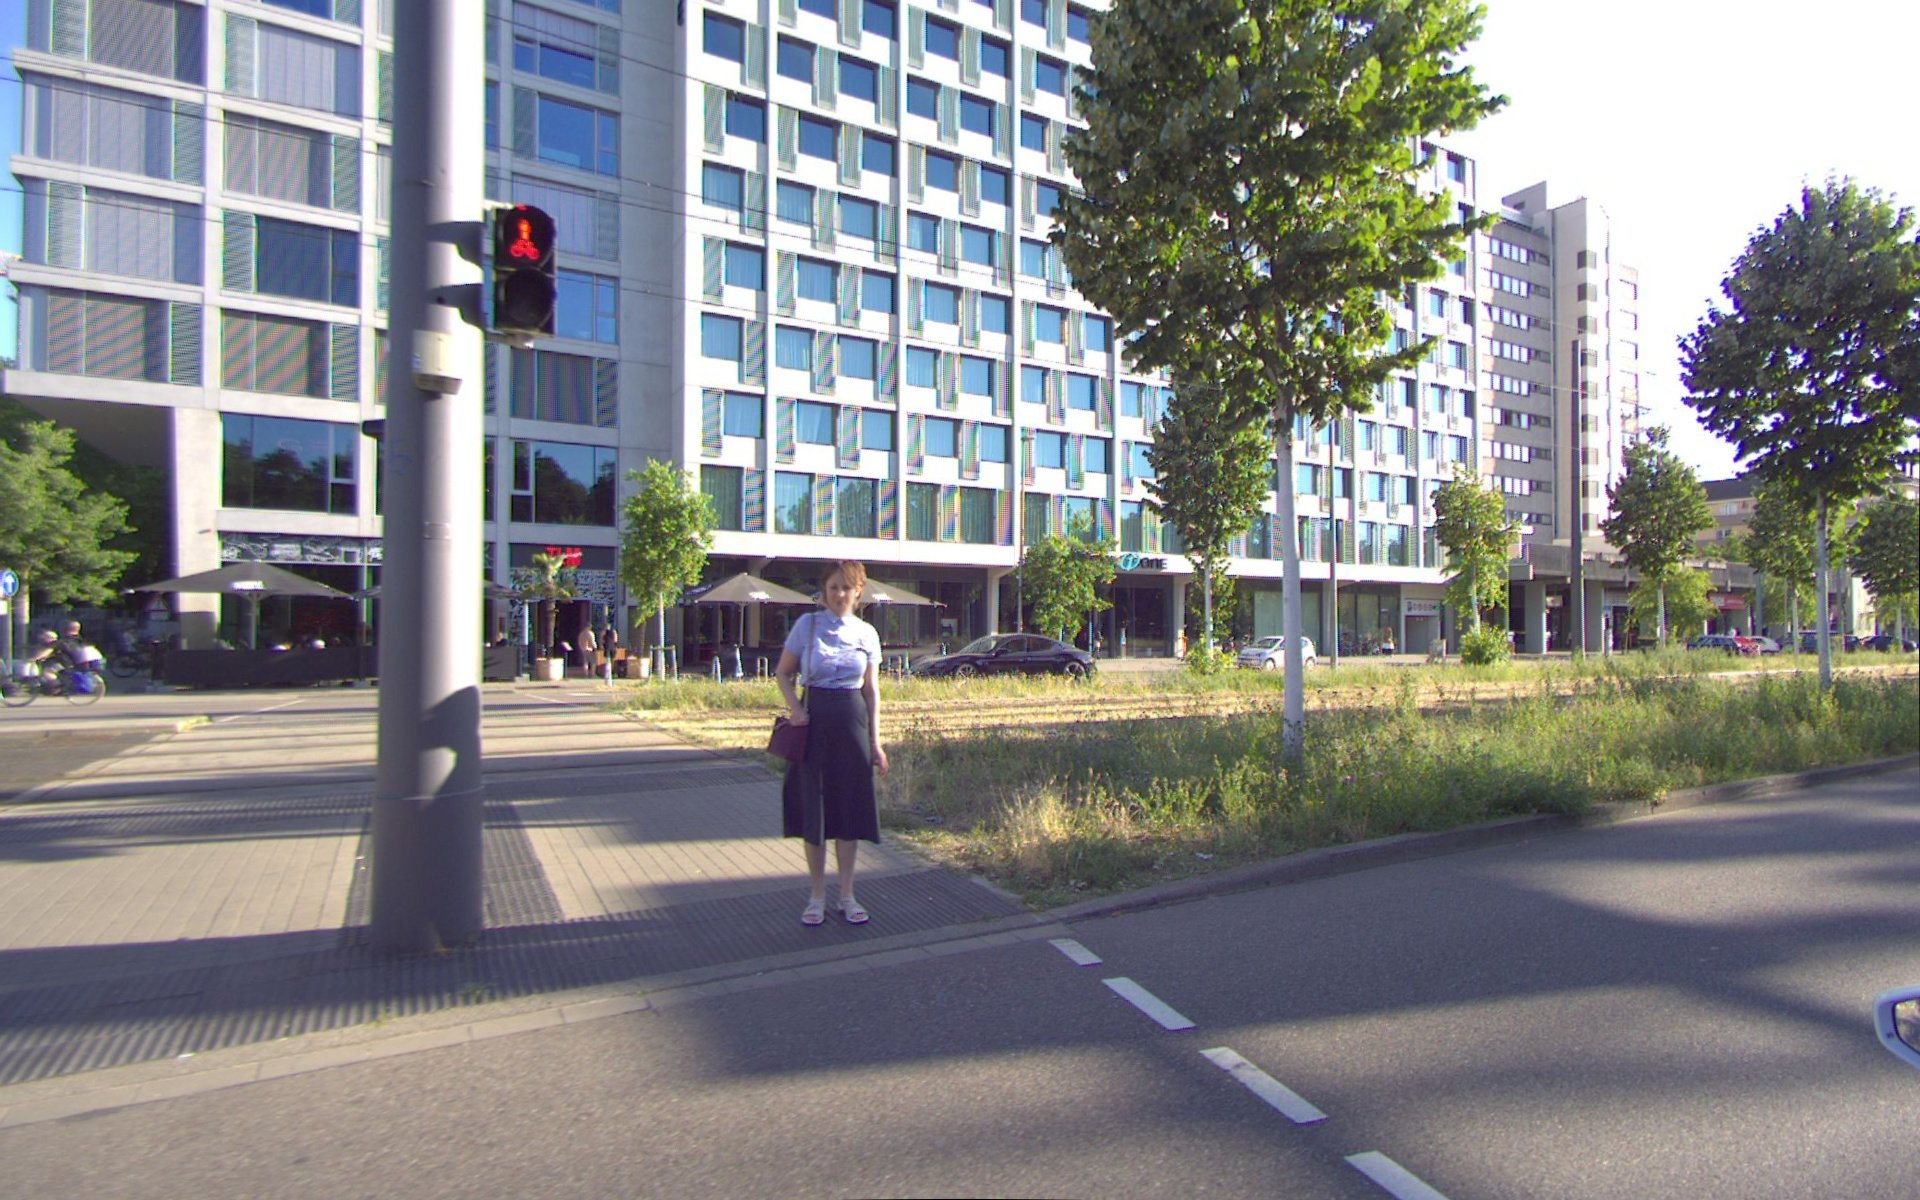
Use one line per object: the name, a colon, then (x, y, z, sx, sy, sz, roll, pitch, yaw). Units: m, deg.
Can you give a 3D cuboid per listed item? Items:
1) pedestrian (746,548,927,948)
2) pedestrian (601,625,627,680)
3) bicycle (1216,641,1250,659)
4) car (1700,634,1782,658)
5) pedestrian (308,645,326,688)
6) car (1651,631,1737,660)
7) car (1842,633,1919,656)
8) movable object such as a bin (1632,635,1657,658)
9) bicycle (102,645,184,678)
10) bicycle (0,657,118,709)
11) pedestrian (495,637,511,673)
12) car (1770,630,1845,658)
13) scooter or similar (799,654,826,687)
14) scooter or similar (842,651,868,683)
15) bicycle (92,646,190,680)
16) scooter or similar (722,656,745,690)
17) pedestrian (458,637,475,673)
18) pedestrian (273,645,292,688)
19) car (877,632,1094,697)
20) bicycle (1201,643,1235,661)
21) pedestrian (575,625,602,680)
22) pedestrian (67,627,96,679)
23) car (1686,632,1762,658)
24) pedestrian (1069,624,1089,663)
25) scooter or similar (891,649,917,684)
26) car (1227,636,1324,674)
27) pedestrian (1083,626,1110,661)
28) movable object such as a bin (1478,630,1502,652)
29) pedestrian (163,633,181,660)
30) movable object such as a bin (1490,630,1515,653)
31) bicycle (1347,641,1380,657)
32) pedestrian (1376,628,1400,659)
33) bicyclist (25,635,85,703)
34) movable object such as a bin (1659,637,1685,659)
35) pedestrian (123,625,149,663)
pedestrian: (-0.595, 0.648, 4.755, 0.704, 1.722, 0.597, 1, -2, -25)
pedestrian: (-11.345, 1.708, 32.932, 0.791, 1.744, 0.868, 1, -1, -20)
bicycle: (14.183, 2.590, 52.142, 0.507, 0.917, 1.792, 1, -2, -36)
car: (52.054, 3.046, 67.048, 3.919, 1.472, 1.788, 1, 0, 12)
pedestrian: (-18.429, 1.911, 28.800, 0.428, 1.209, 0.362, 1, -2, -33)
car: (46.460, 2.847, 63.634, 4.015, 1.622, 1.750, 2, 1, 20)
car: (69.984, 3.350, 76.330, 3.920, 1.584, 2.000, 1, -1, 18)
movable object such as a bin: (41.737, 2.843, 61.240, 0.924, 1.375, 0.858, 0, -2, -16)
bicycle: (-25.133, 1.880, 30.932, 1.879, 0.948, 0.533, 1, -2, -31)
bicycle: (-20.147, 1.836, 22.351, 2.053, 1.081, 0.622, 1, -2, -30)
pedestrian: (-16.084, 1.928, 35.346, 0.491, 1.238, 0.429, 1, -2, -30)
car: (60.835, 3.118, 72.161, 3.685, 1.853, 1.825, 0, 0, 20)
scooter or similar: (-4.790, 2.277, 32.582, 0.504, 1.032, 1.238, 1, -2, -29)
scooter or similar: (-3.505, 2.213, 33.376, 0.429, 1.032, 1.238, 1, -2, -29)
bicycle: (-24.569, 1.879, 30.171, 2.191, 0.948, 0.615, 1, -2, -31)
scooter or similar: (-7.138, 2.277, 31.659, 0.401, 1.019, 1.238, 1, -2, -29)
pedestrian: (-17.097, 1.910, 34.789, 0.491, 1.238, 0.429, 1, -2, -30)
pedestrian: (-19.380, 1.899, 28.739, 0.428, 1.209, 0.362, 1, -2, -33)
car: (0.638, 1.432, 23.276, 4.794, 1.361, 1.882, 1, -2, -31)
bicycle: (13.355, 2.682, 51.974, 0.507, 0.917, 1.792, 1, -2, -36)
pedestrian: (-12.058, 1.695, 32.599, 0.791, 1.744, 0.868, 1, -1, -20)
pedestrian: (-26.377, 1.580, 30.153, 0.571, 1.518, 0.582, 1, -2, -36)
car: (49.721, 2.930, 65.447, 3.554, 1.543, 1.621, 1, 0, 20)
pedestrian: (5.911, 2.161, 50.000, 0.959, 1.895, 0.972, 0, -1, 3)
scooter or similar: (-1.937, 2.288, 34.662, 0.401, 1.187, 1.238, 1, -2, -29)
car: (13.576, 2.345, 43.212, 3.825, 1.512, 1.878, 1, -1, -29)
pedestrian: (6.642, 2.114, 48.950, 1.041, 1.692, 0.976, 0, -1, -15)
movable object such as a bin: (34.394, 2.650, 65.178, 1.386, 1.459, 0.796, 1, -2, -30)
pedestrian: (-45.931, 2.707, 58.556, 0.702, 1.567, 0.674, 1, -2, -28)
movable object such as a bin: (34.818, 2.647, 64.419, 1.386, 1.459, 0.796, 1, -2, -30)
bicycle: (22.990, 2.779, 57.253, 0.506, 0.917, 1.794, 1, -2, -32)
pedestrian: (23.845, 2.424, 55.981, 0.958, 1.675, 0.840, 1, -2, -28)
bicyclist: (-20.128, 1.524, 22.359, 0.841, 1.484, 0.622, 1, -2, -30)
movable object such as a bin: (42.685, 2.844, 60.198, 0.924, 1.297, 0.858, 0, -2, -16)
pedestrian: (-34.025, 1.808, 41.480, 0.695, 1.555, 0.580, 1, -2, -24)
